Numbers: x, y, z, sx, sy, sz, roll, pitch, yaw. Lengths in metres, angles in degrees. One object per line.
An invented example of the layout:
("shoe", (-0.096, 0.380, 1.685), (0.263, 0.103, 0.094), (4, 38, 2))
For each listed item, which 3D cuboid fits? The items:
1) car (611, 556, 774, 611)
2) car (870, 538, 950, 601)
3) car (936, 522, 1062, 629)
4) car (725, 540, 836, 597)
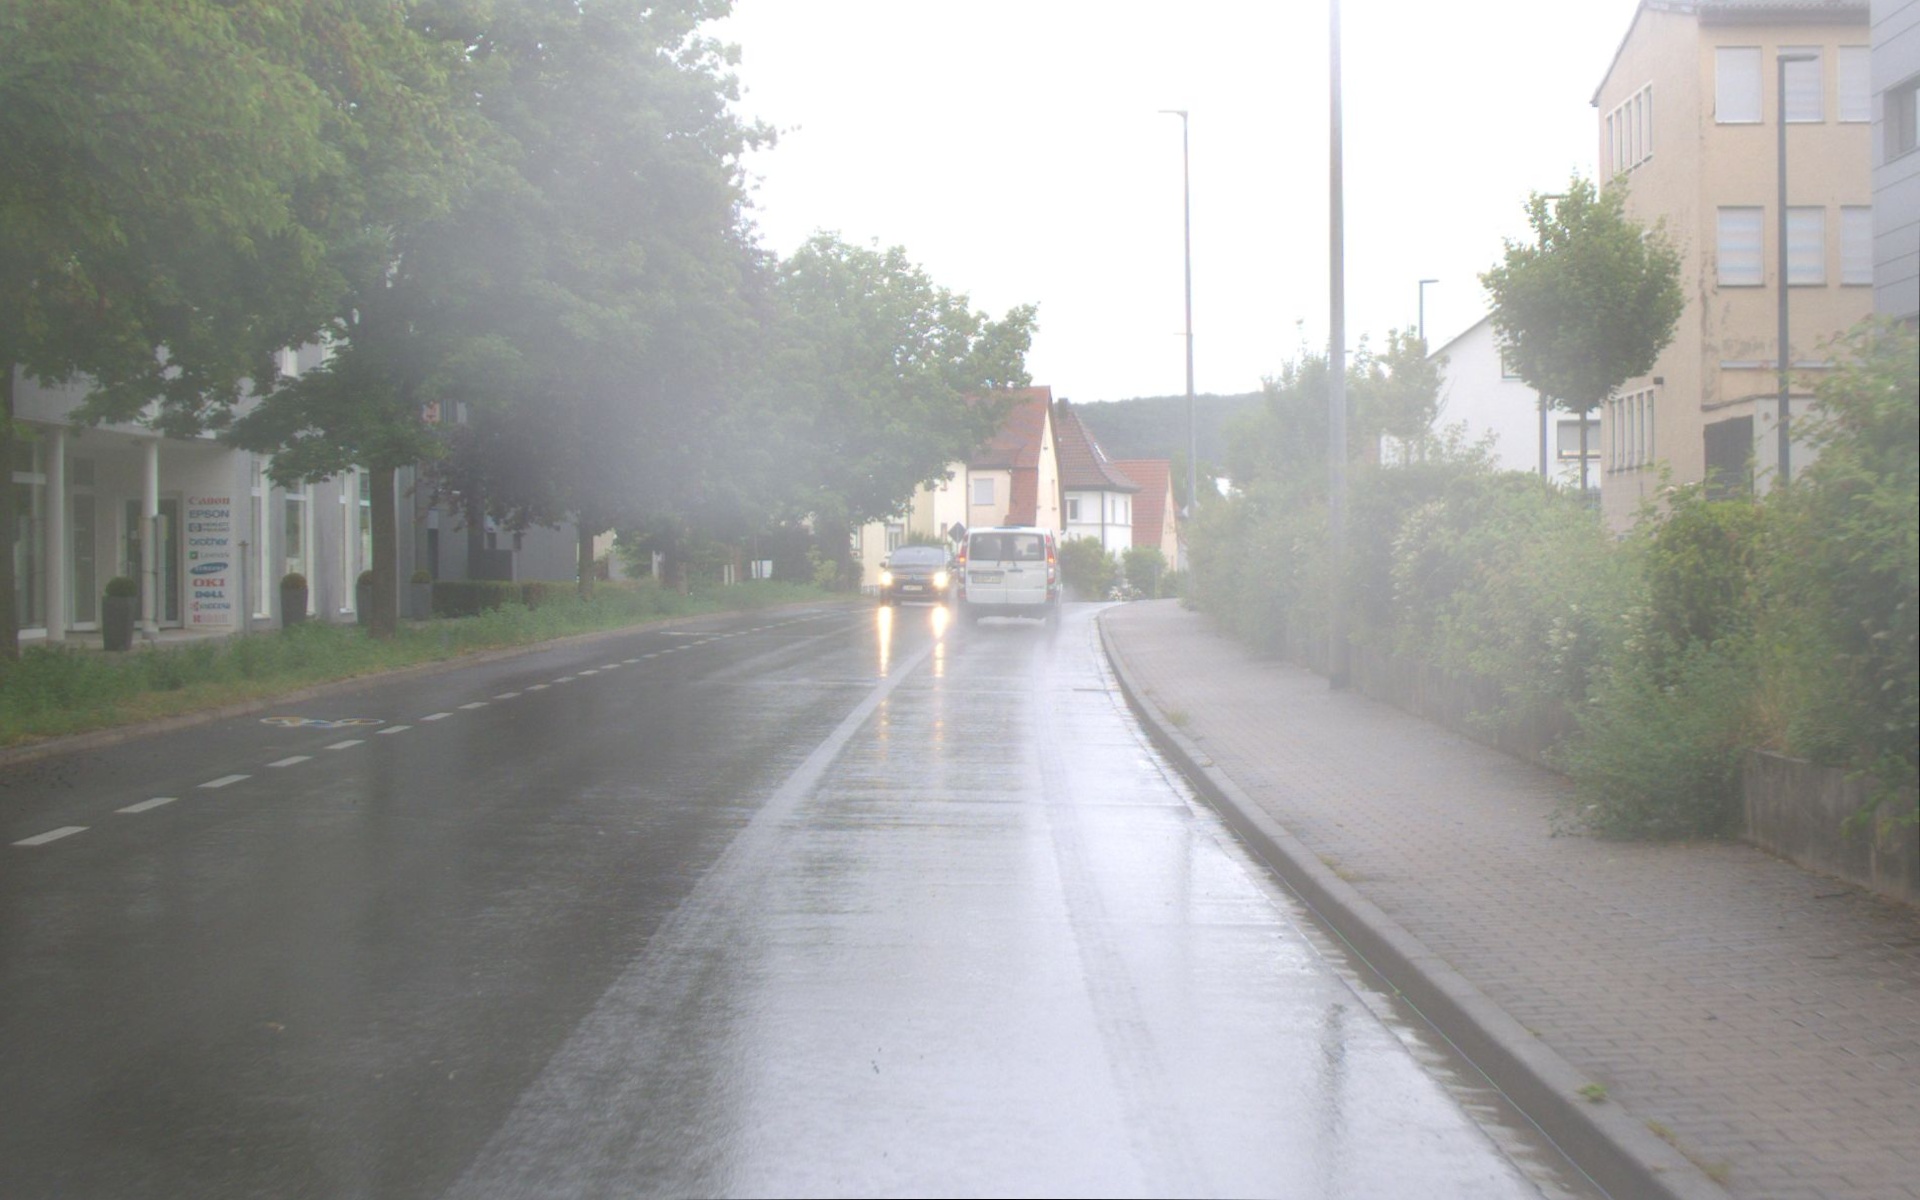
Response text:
("car", (-6.795, -0.419, 87.518), (3.900, 1.280, 1.582), (-2, 0, 4))
("car", (-1.300, -0.830, 91.308), (1.851, 1.549, 4.502), (1, 2, 2))
("car", (0.689, -0.501, 64.457), (2.117, 1.881, 4.503), (1, 2, -2))
("car", (-4.996, -0.875, 95.841), (2.908, 1.450, 1.253), (-2, -2, 3))
